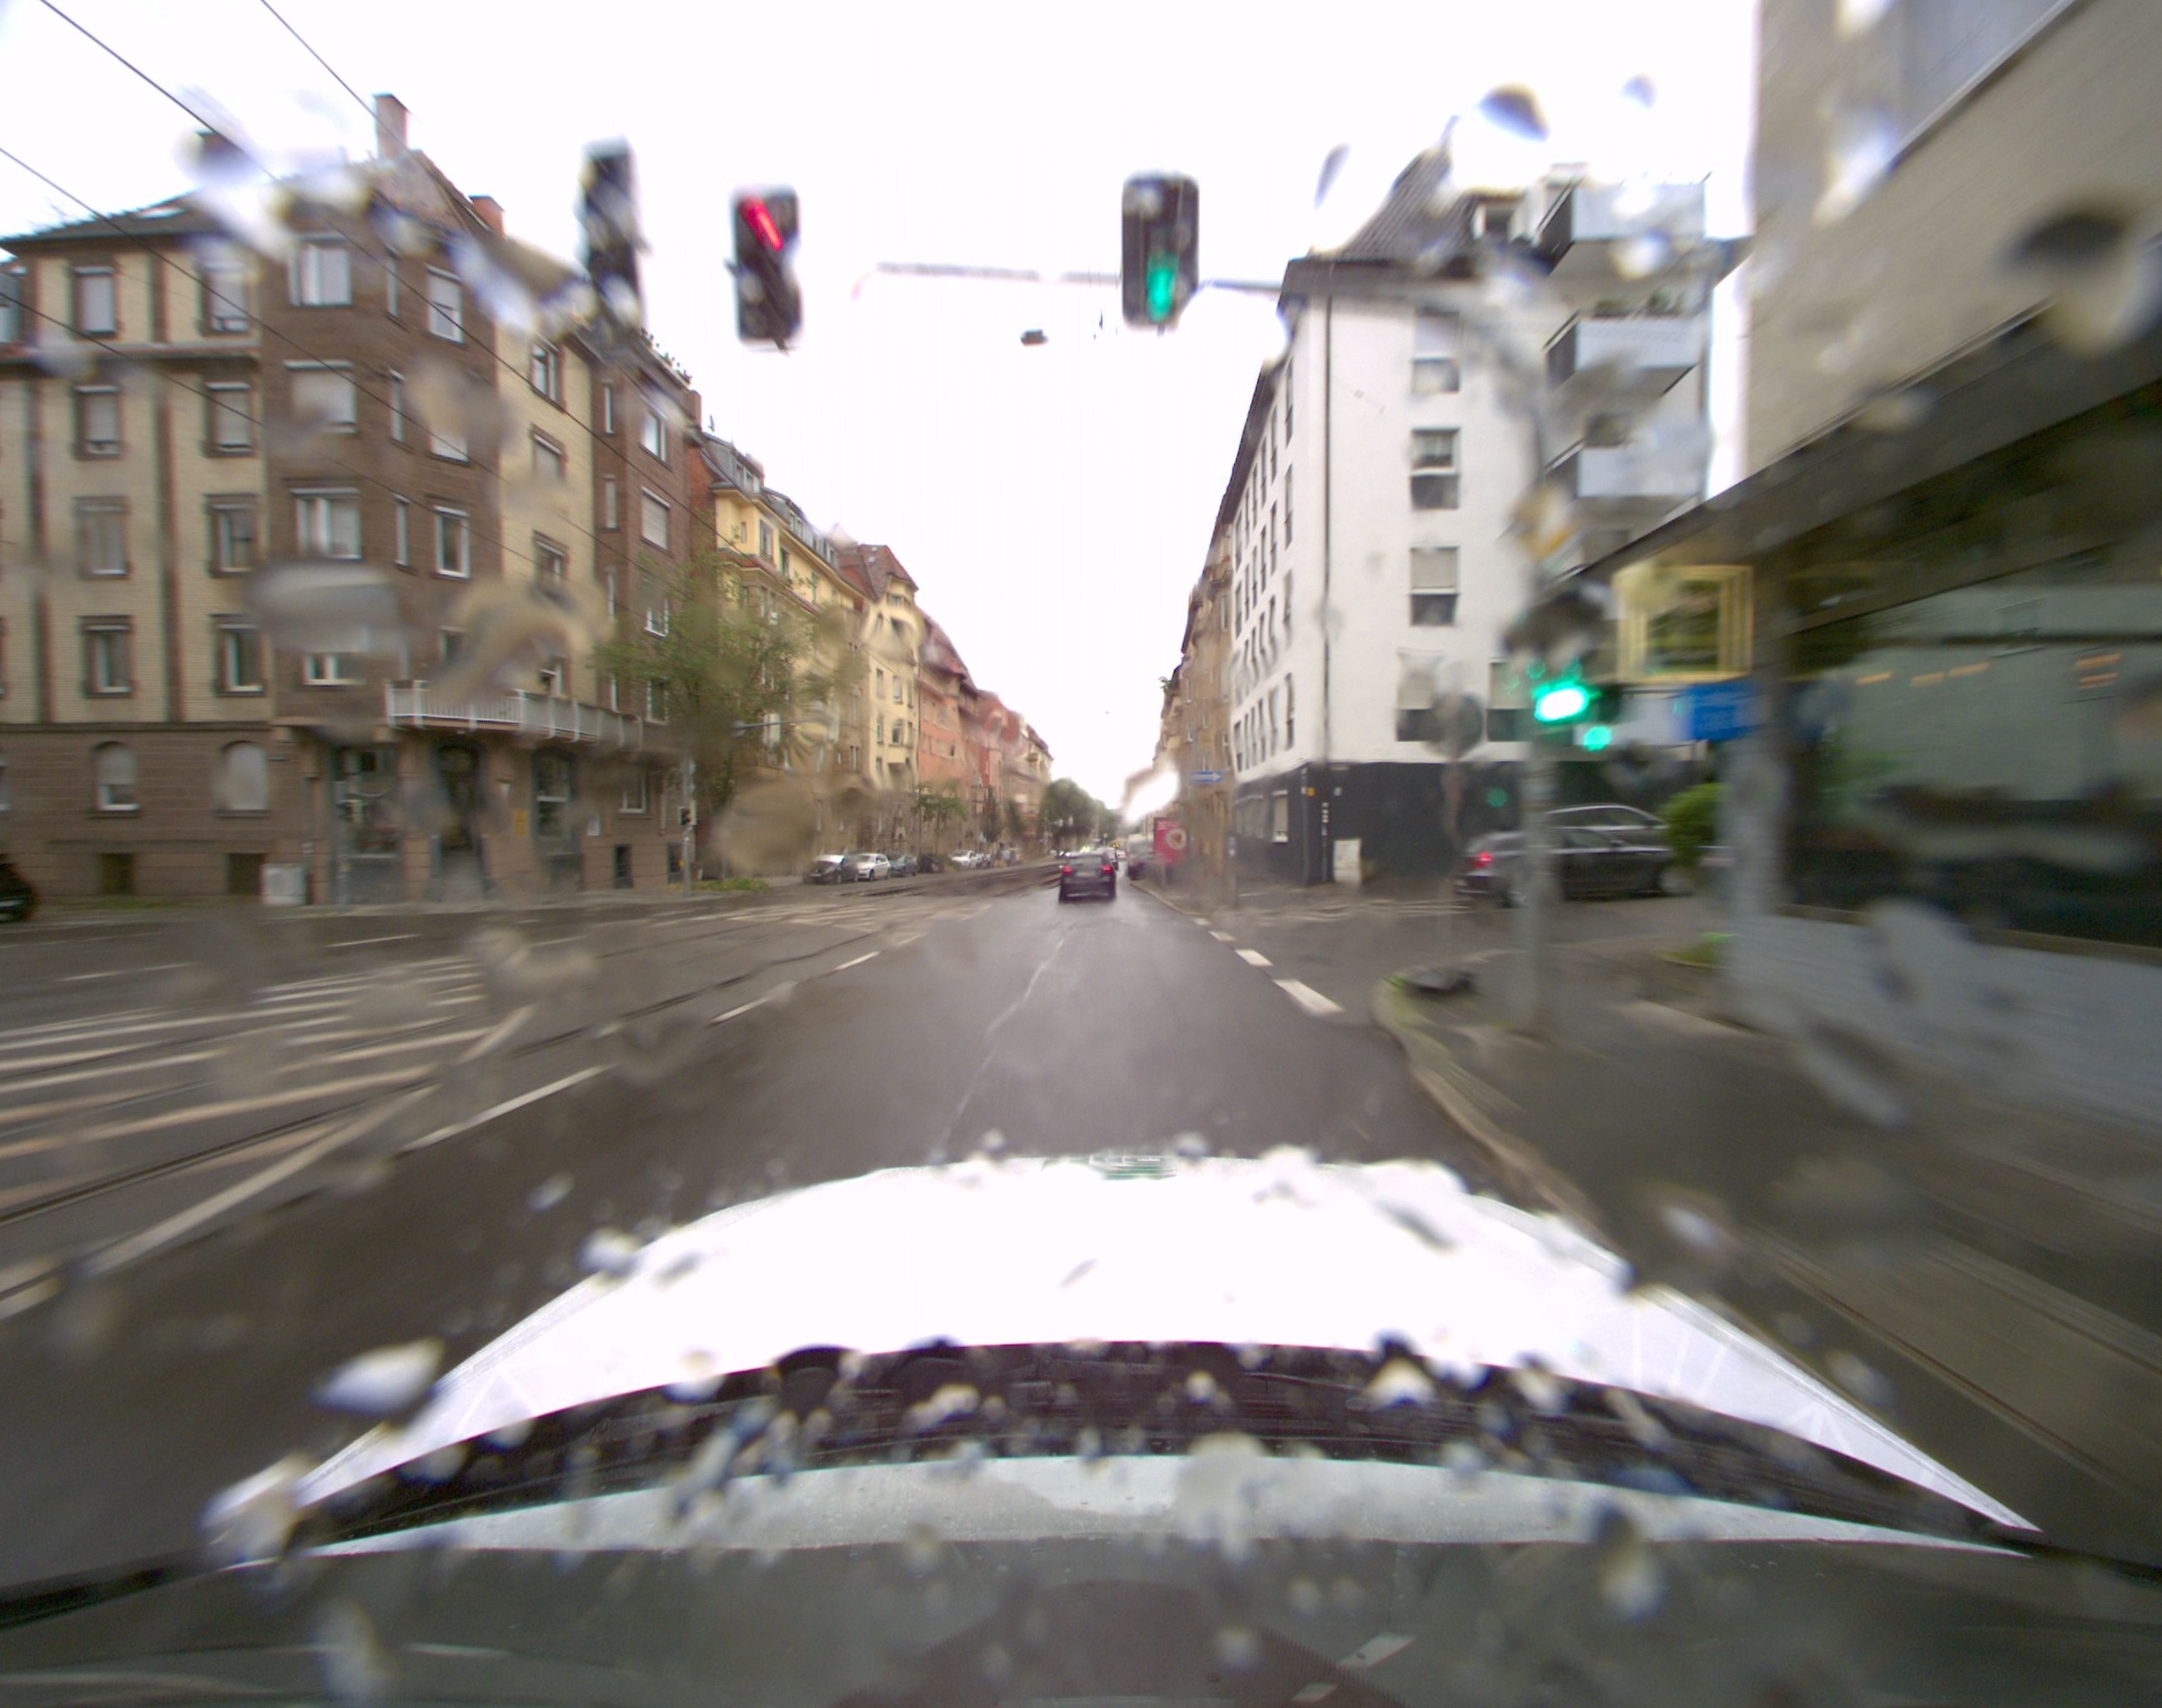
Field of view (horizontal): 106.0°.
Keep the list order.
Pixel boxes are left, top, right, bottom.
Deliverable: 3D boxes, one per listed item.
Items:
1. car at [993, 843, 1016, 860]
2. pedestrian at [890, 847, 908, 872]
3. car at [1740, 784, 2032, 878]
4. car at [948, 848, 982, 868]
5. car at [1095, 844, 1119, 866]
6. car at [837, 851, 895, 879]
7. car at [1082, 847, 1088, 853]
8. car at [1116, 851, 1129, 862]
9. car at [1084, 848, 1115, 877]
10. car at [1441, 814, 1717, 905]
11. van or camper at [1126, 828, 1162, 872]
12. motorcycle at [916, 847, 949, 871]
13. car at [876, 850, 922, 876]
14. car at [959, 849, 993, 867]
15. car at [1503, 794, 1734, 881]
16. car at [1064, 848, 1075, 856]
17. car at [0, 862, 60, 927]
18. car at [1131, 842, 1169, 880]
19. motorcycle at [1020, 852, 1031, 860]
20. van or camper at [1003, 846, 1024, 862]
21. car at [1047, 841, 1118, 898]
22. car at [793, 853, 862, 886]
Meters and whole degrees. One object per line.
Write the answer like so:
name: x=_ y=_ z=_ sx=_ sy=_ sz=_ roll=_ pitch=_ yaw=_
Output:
car: x=-8.563 y=-0.261 z=91.533 sx=1.986 sy=1.901 sz=4.701 roll=-1 pitch=0 yaw=2
pedestrian: x=-13.114 y=0.392 z=58.578 sx=1.002 sy=1.753 sz=0.925 roll=1 pitch=0 yaw=4
car: x=14.719 y=-0.401 z=15.017 sx=3.976 sy=1.502 sz=1.466 roll=-2 pitch=-1 yaw=-2
car: x=-9.760 y=0.353 z=68.666 sx=1.775 sy=1.589 sz=4.358 roll=-2 pitch=0 yaw=6
car: x=2.128 y=0.078 z=67.562 sx=1.915 sy=1.655 sz=4.001 roll=-1 pitch=1 yaw=1
car: x=-11.545 y=0.575 z=43.974 sx=1.659 sy=1.426 sz=4.269 roll=0 pitch=0 yaw=5
car: x=1.196 y=-1.076 z=235.483 sx=1.790 sy=1.548 sz=4.000 roll=-1 pitch=0 yaw=0
car: x=6.090 y=0.378 z=119.190 sx=1.894 sy=1.593 sz=4.004 roll=-1 pitch=-1 yaw=4
car: x=1.062 y=0.461 z=45.110 sx=1.529 sy=1.510 sz=4.005 roll=0 pitch=1 yaw=4
car: x=9.043 y=0.093 z=15.079 sx=3.968 sy=1.414 sz=1.764 roll=-2 pitch=0 yaw=5
van or camper: x=3.807 y=-0.232 z=49.449 sx=2.055 sy=2.469 sz=6.125 roll=-1 pitch=0 yaw=4
motorcycle: x=-10.594 y=0.355 z=58.152 sx=2.262 sy=1.642 sz=1.287 roll=0 pitch=0 yaw=-14
car: x=-11.163 y=0.516 z=50.148 sx=1.554 sy=1.438 sz=4.151 roll=-1 pitch=1 yaw=4
car: x=-9.561 y=0.354 z=74.645 sx=1.983 sy=1.509 sz=4.983 roll=2 pitch=0 yaw=6
car: x=11.954 y=-0.388 z=18.358 sx=3.963 sy=1.690 sz=1.744 roll=-3 pitch=3 yaw=9
car: x=-2.512 y=-0.514 z=181.220 sx=1.985 sy=1.794 sz=4.005 roll=0 pitch=0 yaw=4
car: x=-28.410 y=1.003 z=20.131 sx=4.193 sy=1.565 sz=1.845 roll=0 pitch=0 yaw=3
car: x=3.426 y=0.324 z=40.834 sx=1.761 sy=1.808 sz=4.487 roll=0 pitch=0 yaw=4
motorcycle: x=-7.437 y=0.236 z=109.525 sx=1.423 sy=1.134 sz=0.624 roll=0 pitch=0 yaw=33
van or camper: x=-8.217 y=-0.048 z=99.197 sx=1.986 sy=1.901 sz=4.701 roll=-1 pitch=1 yaw=2
car: x=0.122 y=0.450 z=24.591 sx=1.938 sy=1.564 sz=3.645 roll=-1 pitch=0 yaw=3
car: x=-12.044 y=0.705 z=38.924 sx=1.757 sy=1.486 sz=4.005 roll=-1 pitch=-1 yaw=4
